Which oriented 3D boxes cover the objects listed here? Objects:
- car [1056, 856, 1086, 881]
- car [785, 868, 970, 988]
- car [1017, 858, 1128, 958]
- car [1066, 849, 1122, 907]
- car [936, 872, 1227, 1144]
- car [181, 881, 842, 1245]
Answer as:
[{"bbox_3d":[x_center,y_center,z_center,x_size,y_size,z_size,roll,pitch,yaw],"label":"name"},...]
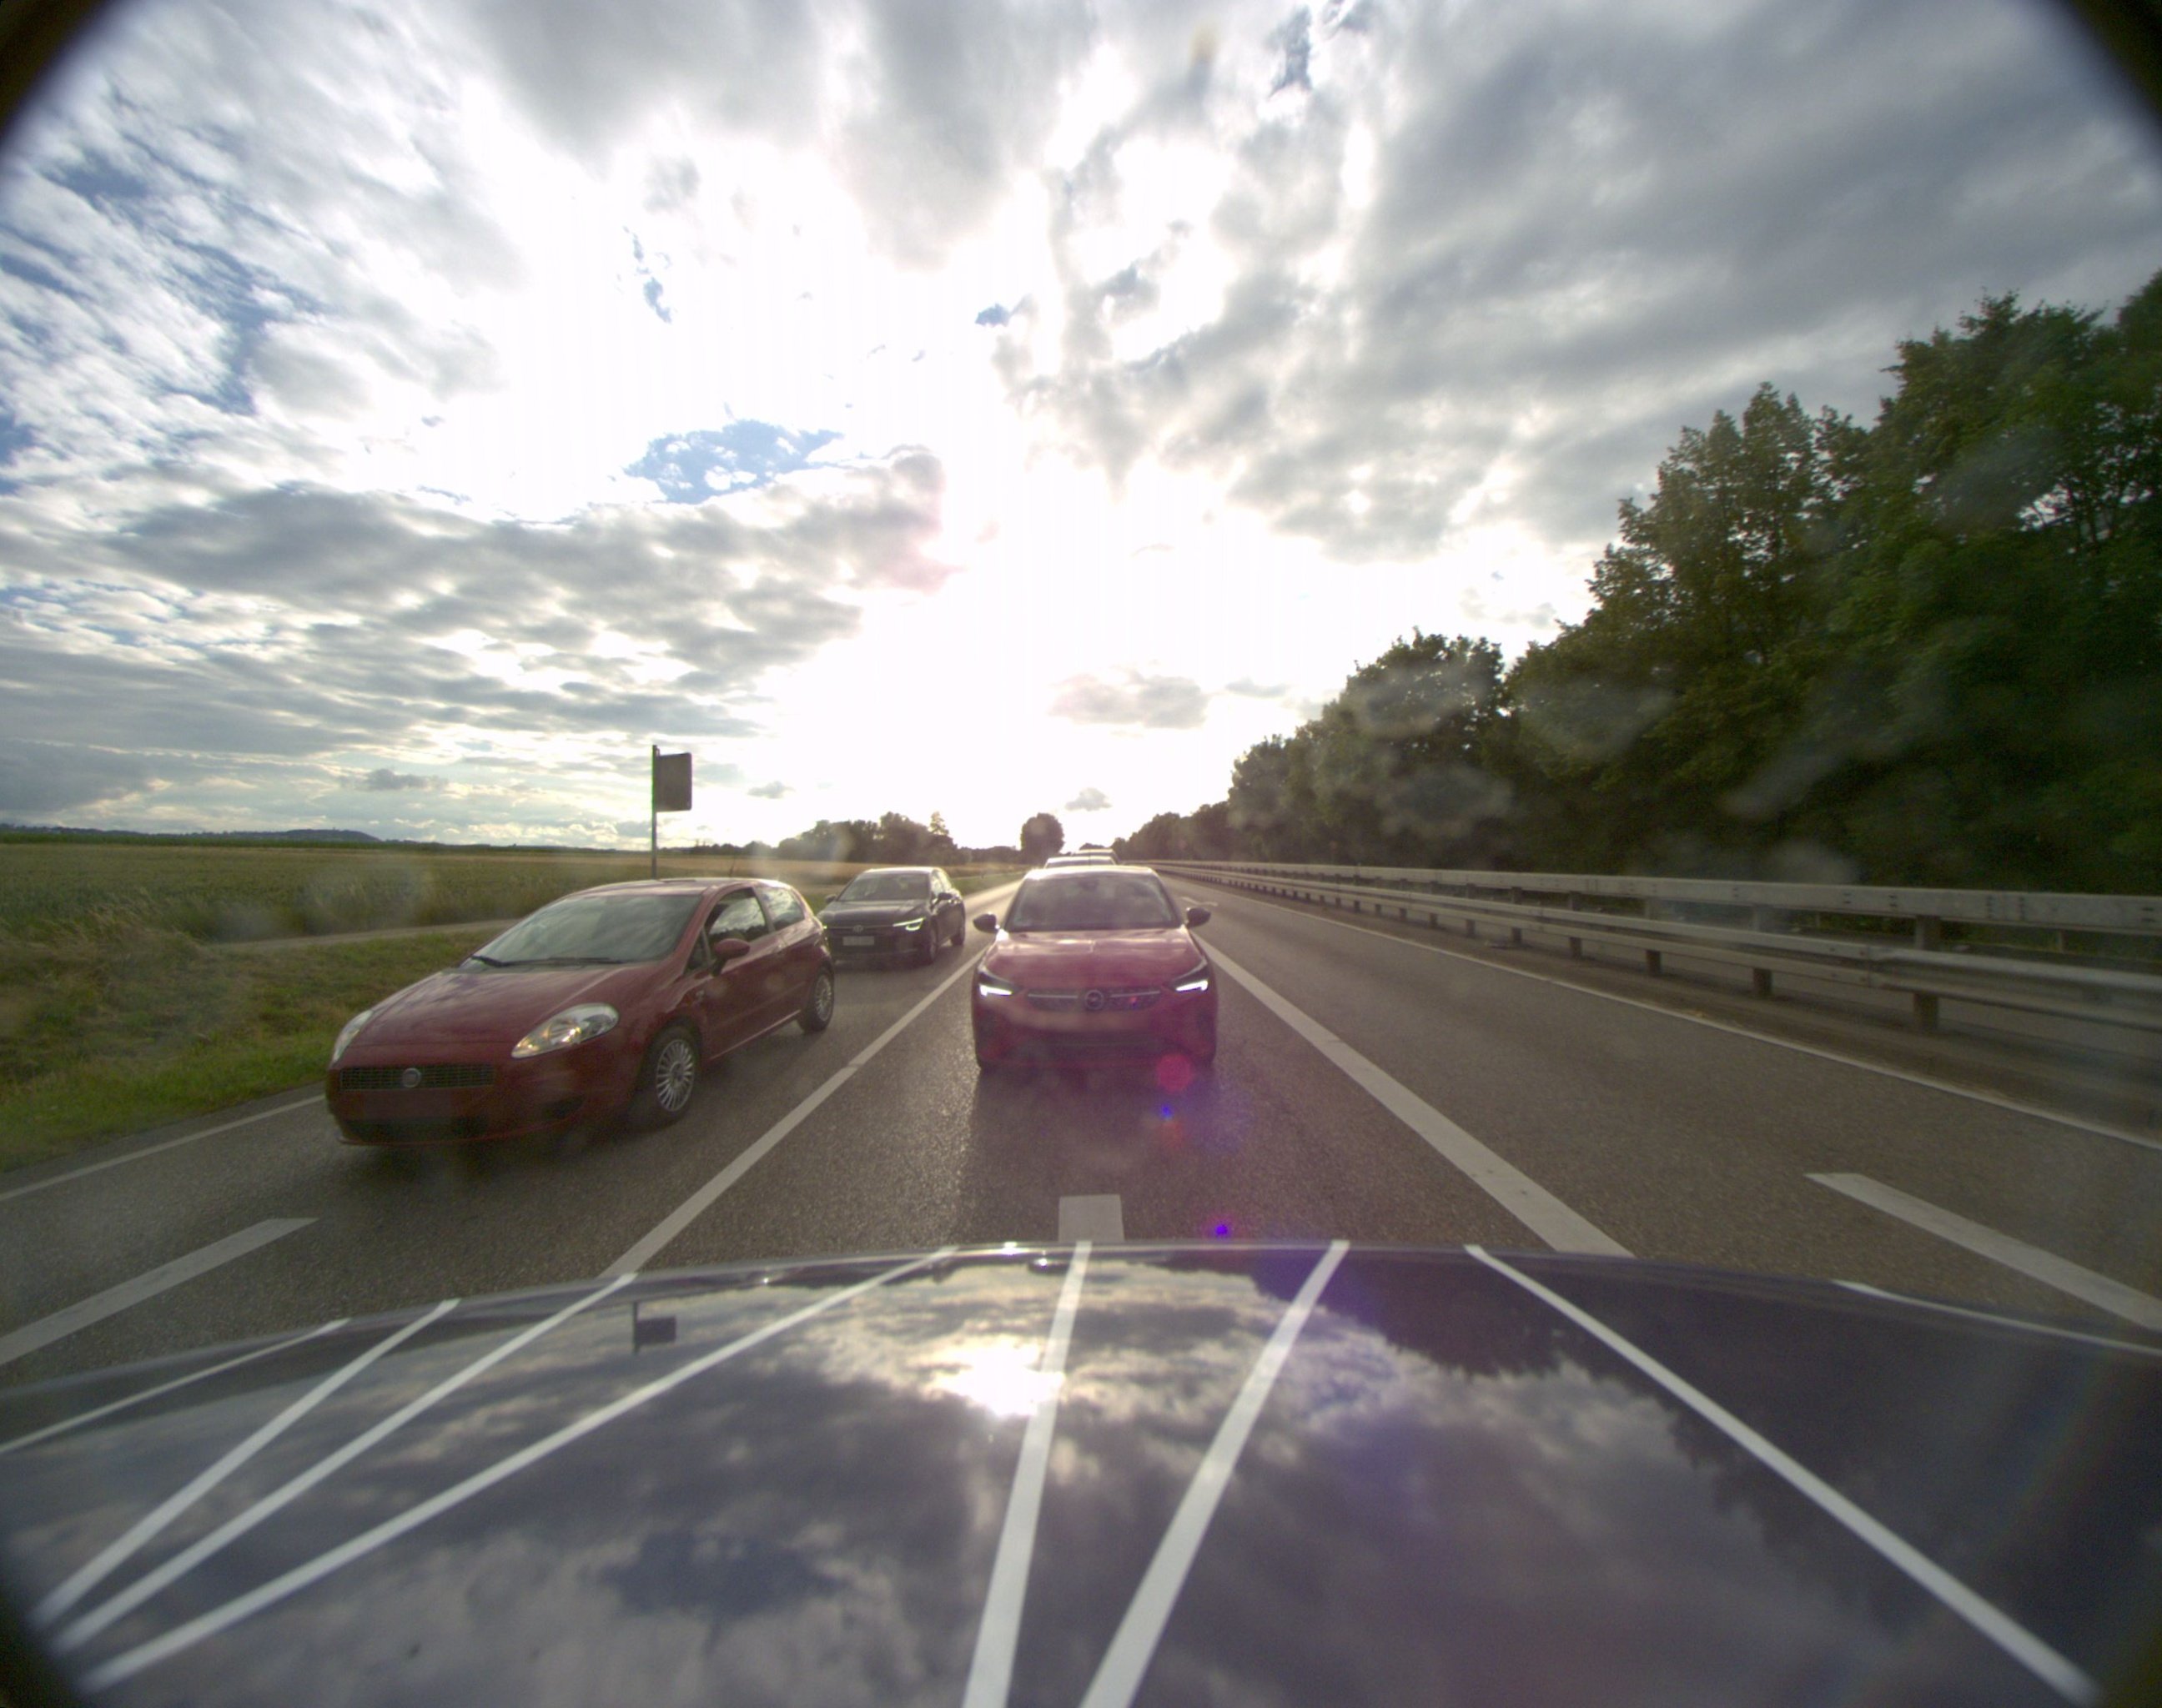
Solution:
[{"bbox_3d":[-0.599,0.941,50.132,1.799,1.448,4.032,-2,1,1],"label":"car"},{"bbox_3d":[-3.061,1.041,12.343,1.799,1.448,4.032,-2,1,1],"label":"car"},{"bbox_3d":[-0.105,0.877,14.117,1.712,1.448,4.061,-2,1,1],"label":"car"},{"bbox_3d":[0.436,0.721,25.541,1.671,1.730,4.032,-2,1,1],"label":"car"},{"bbox_3d":[0.034,0.990,6.663,1.712,1.448,4.061,-2,1,1],"label":"car"},{"bbox_3d":[-3.255,1.043,5.480,1.712,1.448,3.908,-2,1,1],"label":"car"}]
